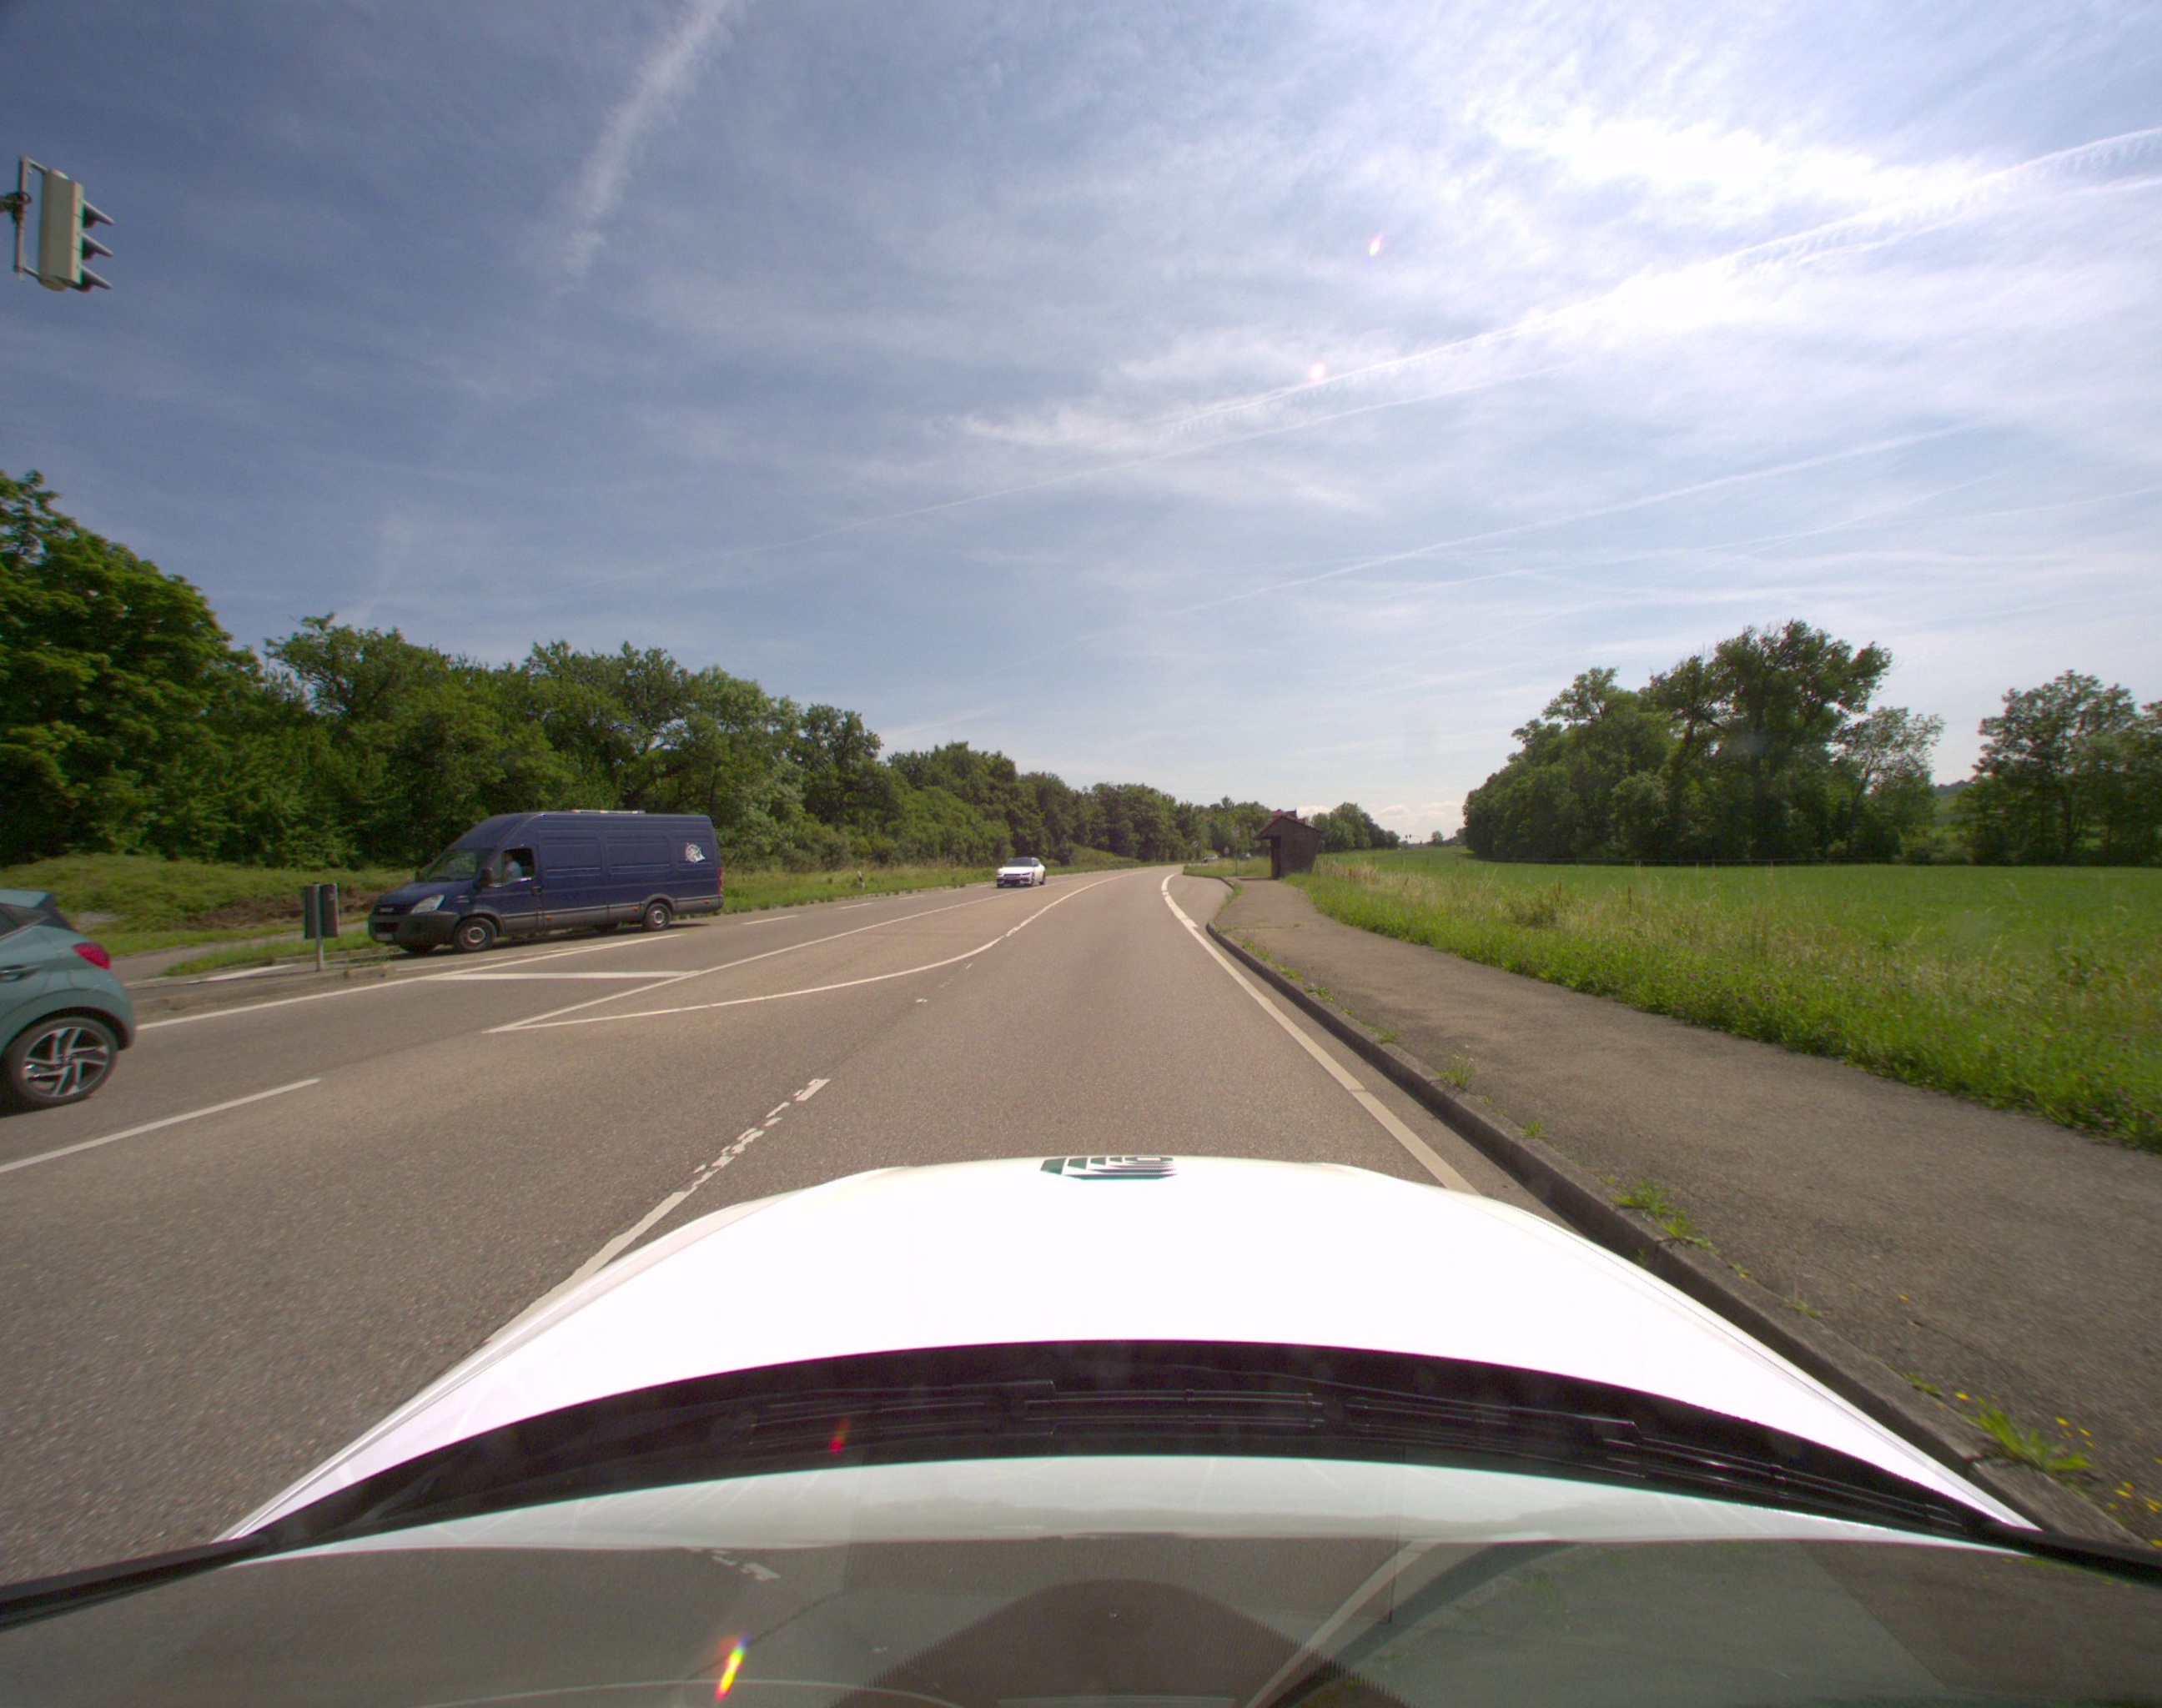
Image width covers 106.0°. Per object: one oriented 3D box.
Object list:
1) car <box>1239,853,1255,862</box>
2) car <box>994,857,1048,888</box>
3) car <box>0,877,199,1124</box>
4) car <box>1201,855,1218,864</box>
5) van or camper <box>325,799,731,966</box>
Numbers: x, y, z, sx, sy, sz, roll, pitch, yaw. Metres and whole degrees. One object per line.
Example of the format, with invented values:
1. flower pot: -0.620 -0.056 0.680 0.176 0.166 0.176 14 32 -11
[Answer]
1. car: 30.265 0.684 148.522 1.975 1.574 4.024 -1 -1 26
2. car: -3.153 0.957 43.746 1.926 1.548 4.637 -1 -1 8
3. car: -7.450 0.908 4.131 1.700 1.483 3.833 -1 -1 2
4. car: 21.471 0.944 135.668 1.739 1.534 4.251 -1 -1 23
5. van or camper: -11.433 0.438 17.930 2.220 2.914 7.287 -1 1 22
